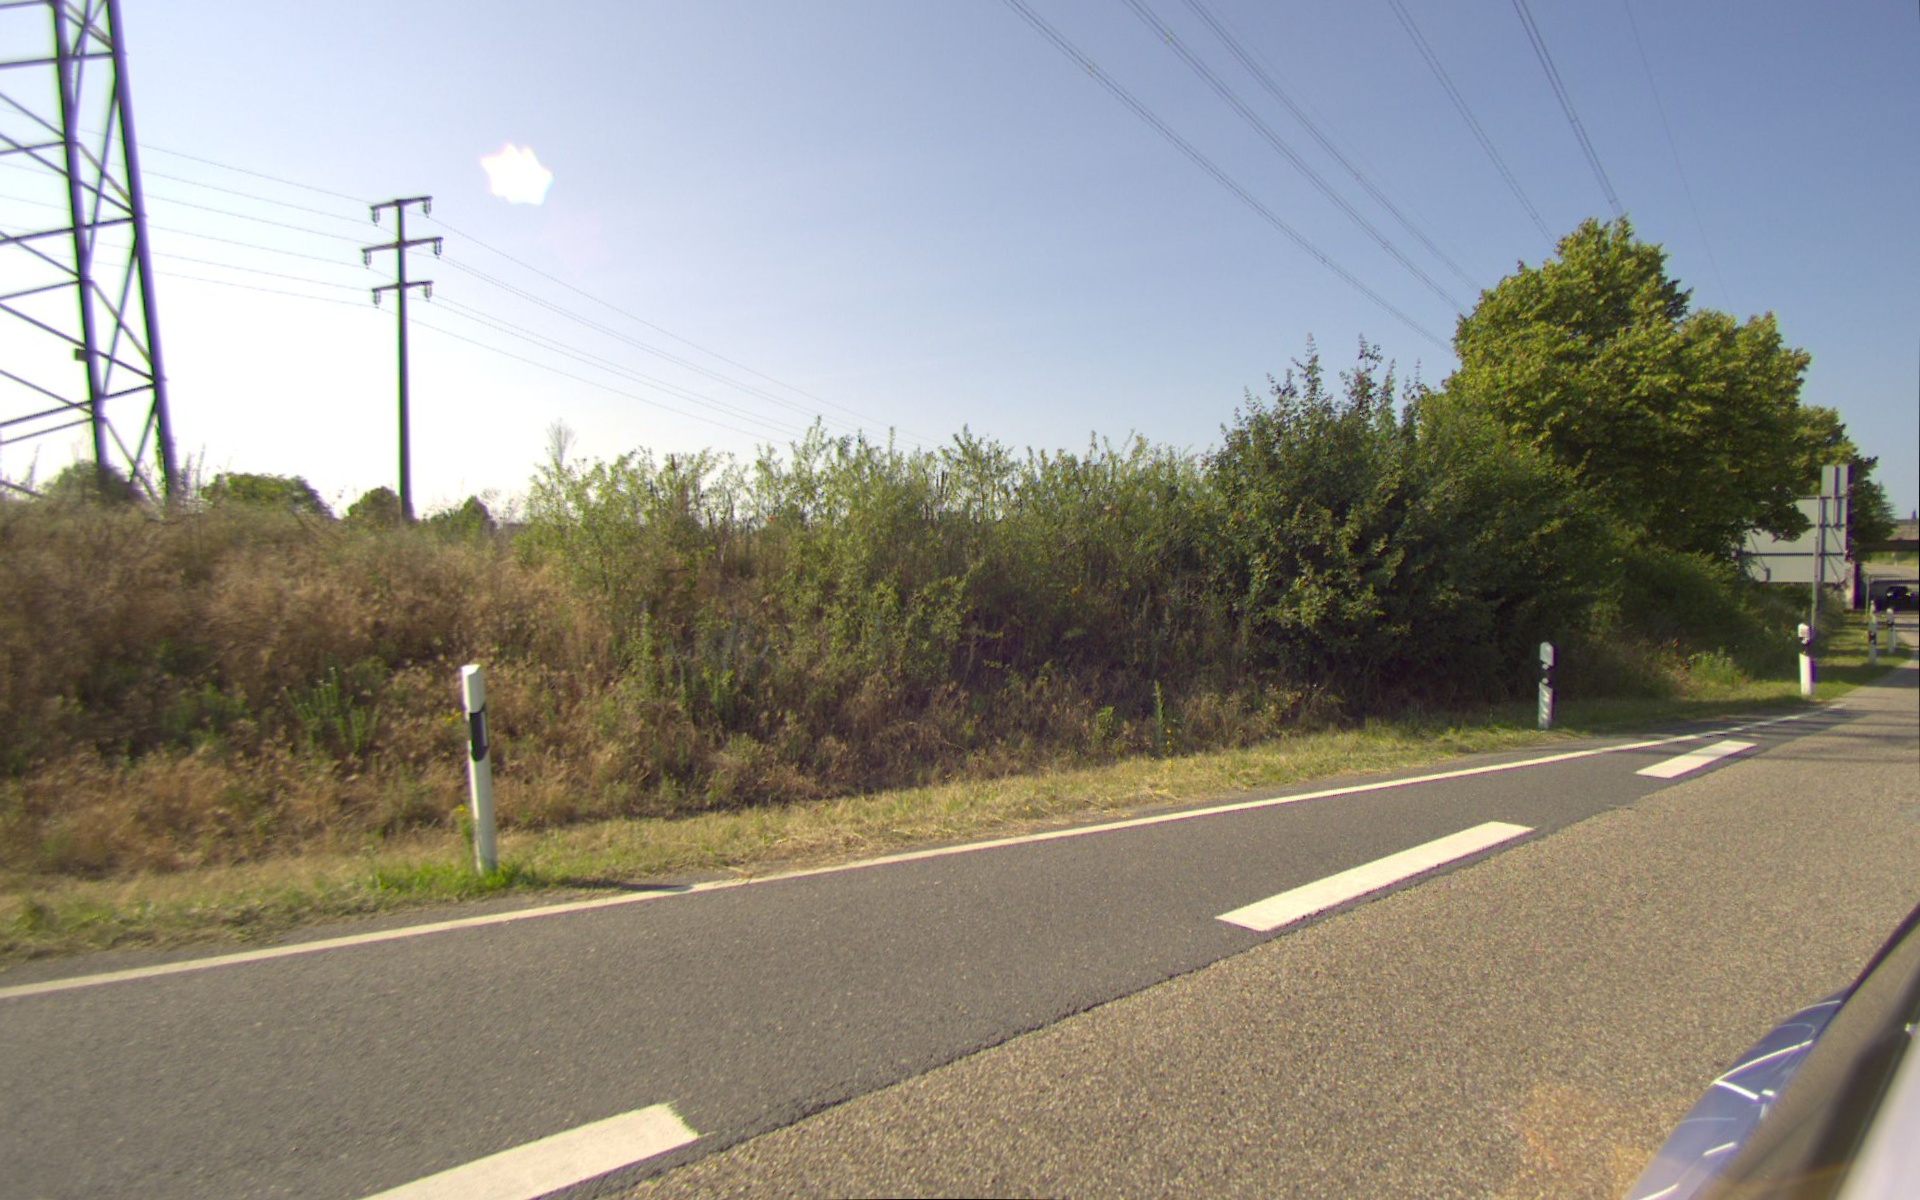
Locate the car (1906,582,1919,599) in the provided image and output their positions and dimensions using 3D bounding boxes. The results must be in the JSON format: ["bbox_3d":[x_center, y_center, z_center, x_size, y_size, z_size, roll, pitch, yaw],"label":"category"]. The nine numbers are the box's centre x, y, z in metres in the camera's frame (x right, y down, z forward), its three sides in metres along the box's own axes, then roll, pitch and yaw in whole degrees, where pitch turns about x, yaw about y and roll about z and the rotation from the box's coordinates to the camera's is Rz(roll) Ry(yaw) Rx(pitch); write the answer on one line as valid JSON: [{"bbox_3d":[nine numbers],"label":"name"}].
[{"bbox_3d":[96.004,-0.931,101.194,1.853,1.639,3.593,1,1,41],"label":"car"}]
